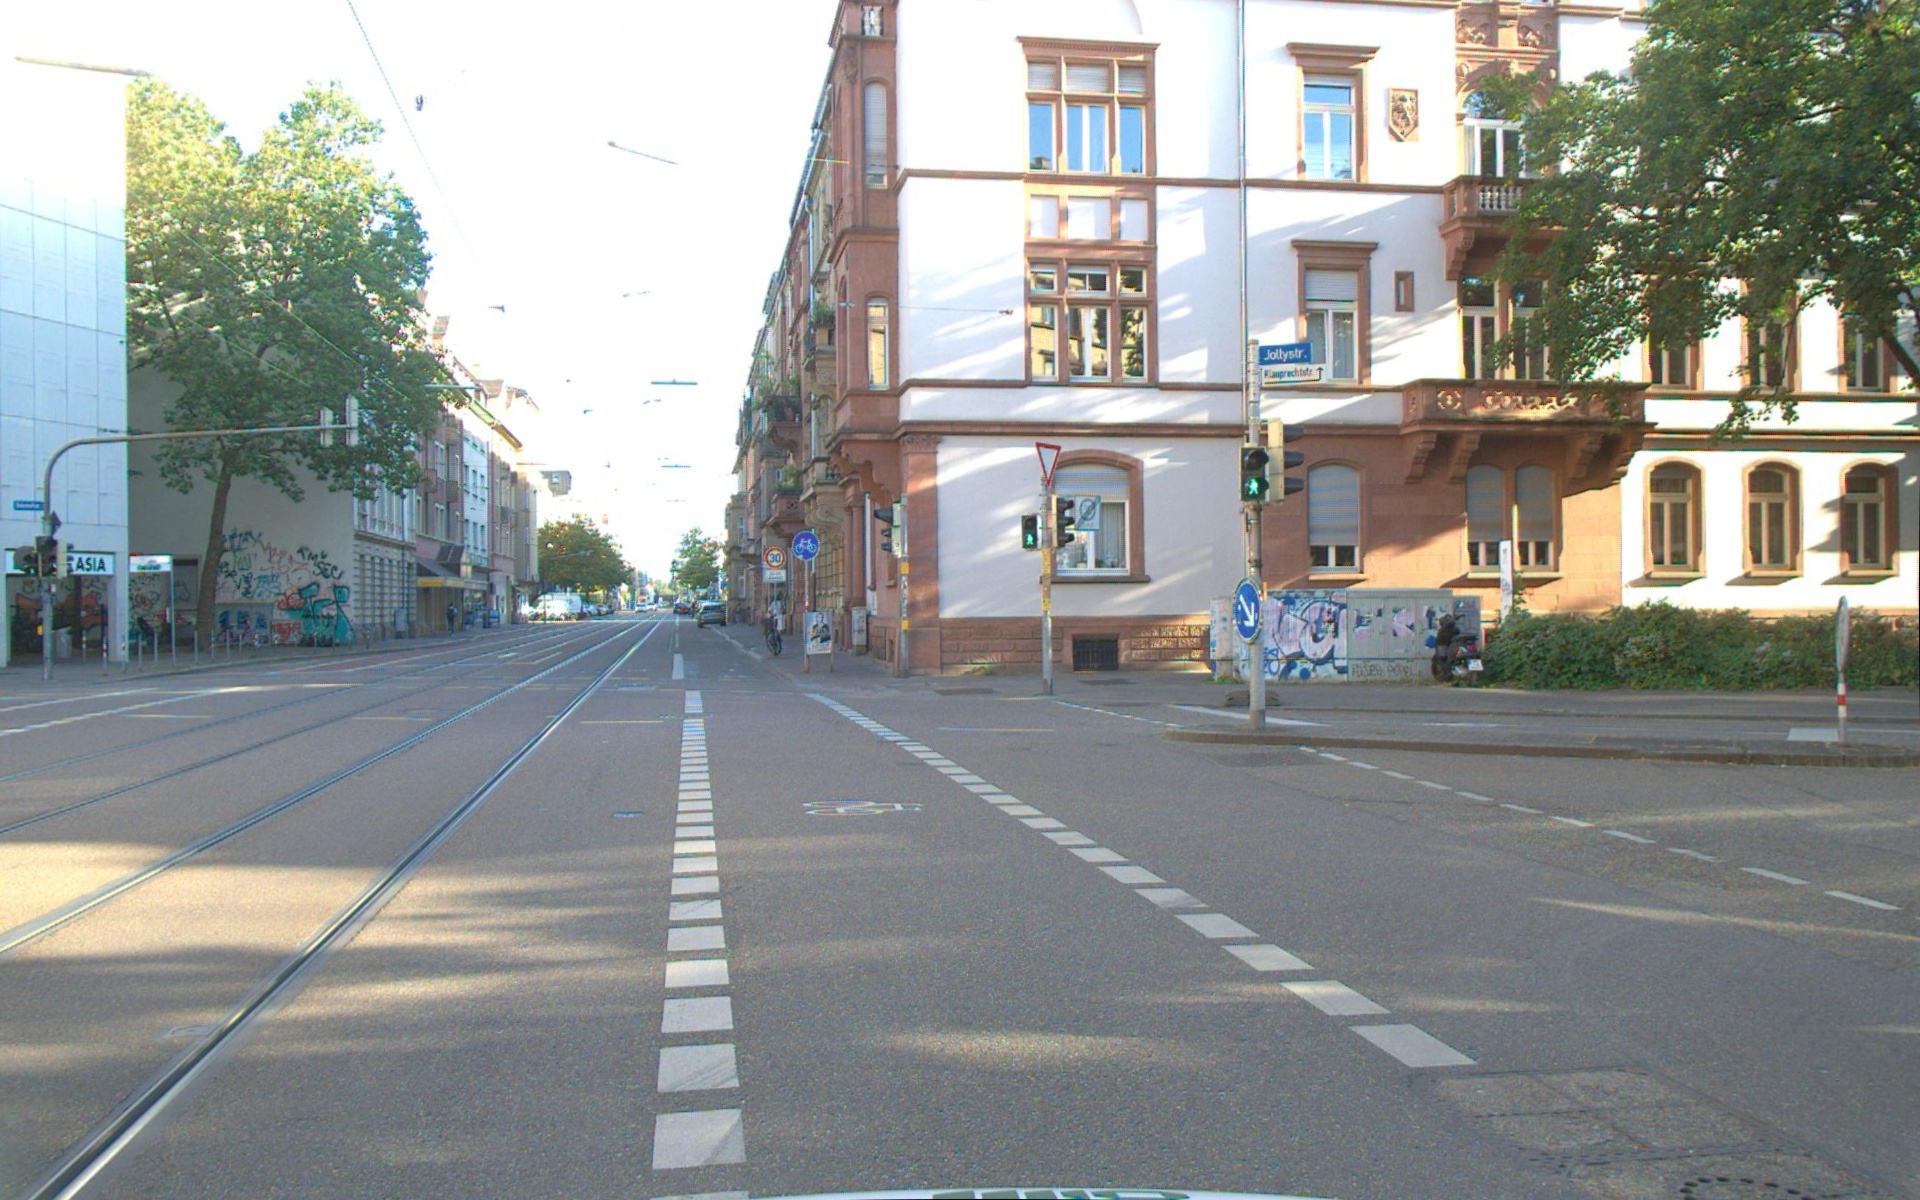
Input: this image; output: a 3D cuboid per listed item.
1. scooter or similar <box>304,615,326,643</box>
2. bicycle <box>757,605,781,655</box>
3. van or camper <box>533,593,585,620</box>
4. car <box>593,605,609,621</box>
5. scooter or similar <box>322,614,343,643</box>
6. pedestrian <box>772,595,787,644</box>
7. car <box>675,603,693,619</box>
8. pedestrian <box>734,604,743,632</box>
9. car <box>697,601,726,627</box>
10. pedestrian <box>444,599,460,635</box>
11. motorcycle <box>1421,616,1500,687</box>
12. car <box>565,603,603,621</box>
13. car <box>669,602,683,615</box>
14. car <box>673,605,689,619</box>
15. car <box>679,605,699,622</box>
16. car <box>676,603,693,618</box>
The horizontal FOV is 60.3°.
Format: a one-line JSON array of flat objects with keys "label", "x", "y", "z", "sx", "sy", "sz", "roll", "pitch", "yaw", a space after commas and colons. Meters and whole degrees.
[{"label": "scooter or similar", "x": -24.768, "y": 1.107, "z": 63.506, "sx": 0.507, "sy": 1.064, "sz": 1.474, "roll": -1, "pitch": 0, "yaw": -11}, {"label": "bicycle", "x": -5.335, "y": 0.822, "z": 46.187, "sx": 0.641, "sy": 1.347, "sz": 2.173, "roll": -1, "pitch": 0, "yaw": -7}, {"label": "van or camper", "x": -39.095, "y": 0.655, "z": 161.296, "sx": 4.608, "sy": 2.608, "sz": 1.970, "roll": 0, "pitch": -1, "yaw": -41}, {"label": "car", "x": -48.325, "y": 1.722, "z": 222.582, "sx": 1.957, "sy": 2.049, "sz": 3.990, "roll": -1, "pitch": 0, "yaw": -10}, {"label": "scooter or similar", "x": -24.159, "y": 1.101, "z": 63.650, "sx": 0.507, "sy": 1.076, "sz": 1.474, "roll": -1, "pitch": 0, "yaw": -11}, {"label": "pedestrian", "x": -6.712, "y": 0.713, "z": 61.521, "sx": 0.534, "sy": 1.811, "sz": 0.503, "roll": -1, "pitch": 0, "yaw": -9}, {"label": "car", "x": -32.344, "y": 1.295, "z": 193.729, "sx": 1.957, "sy": 1.758, "sz": 3.990, "roll": 0, "pitch": -1, "yaw": -10}, {"label": "pedestrian", "x": -14.402, "y": 1.186, "z": 107.403, "sx": 0.534, "sy": 1.811, "sz": 0.748, "roll": -1, "pitch": 0, "yaw": -9}, {"label": "car", "x": -17.178, "y": 0.948, "z": 114.356, "sx": 1.914, "sy": 1.713, "sz": 3.992, "roll": -1, "pitch": 0, "yaw": -8}, {"label": "pedestrian", "x": -25.335, "y": 0.840, "z": 82.498, "sx": 0.688, "sy": 1.759, "sz": 0.646, "roll": -1, "pitch": 0, "yaw": -10}, {"label": "motorcycle", "x": 8.459, "y": 0.853, "z": 28.026, "sx": 0.704, "sy": 1.037, "sz": 2.288, "roll": -1, "pitch": 2, "yaw": 2}, {"label": "car", "x": -44.546, "y": 1.388, "z": 196.171, "sx": 3.953, "sy": 2.049, "sz": 1.976, "roll": -1, "pitch": 0, "yaw": -35}, {"label": "car", "x": -40.448, "y": 1.188, "z": 235.278, "sx": 1.957, "sy": 1.758, "sz": 3.990, "roll": 0, "pitch": -1, "yaw": -10}, {"label": "car", "x": -34.828, "y": 1.549, "z": 206.861, "sx": 1.957, "sy": 1.758, "sz": 3.991, "roll": 0, "pitch": -1, "yaw": -9}, {"label": "car", "x": -27.875, "y": 1.373, "z": 170.214, "sx": 1.957, "sy": 1.758, "sz": 3.990, "roll": 0, "pitch": -1, "yaw": -10}, {"label": "car", "x": -33.114, "y": 1.257, "z": 198.825, "sx": 1.957, "sy": 1.758, "sz": 3.990, "roll": 0, "pitch": -1, "yaw": -10}]
